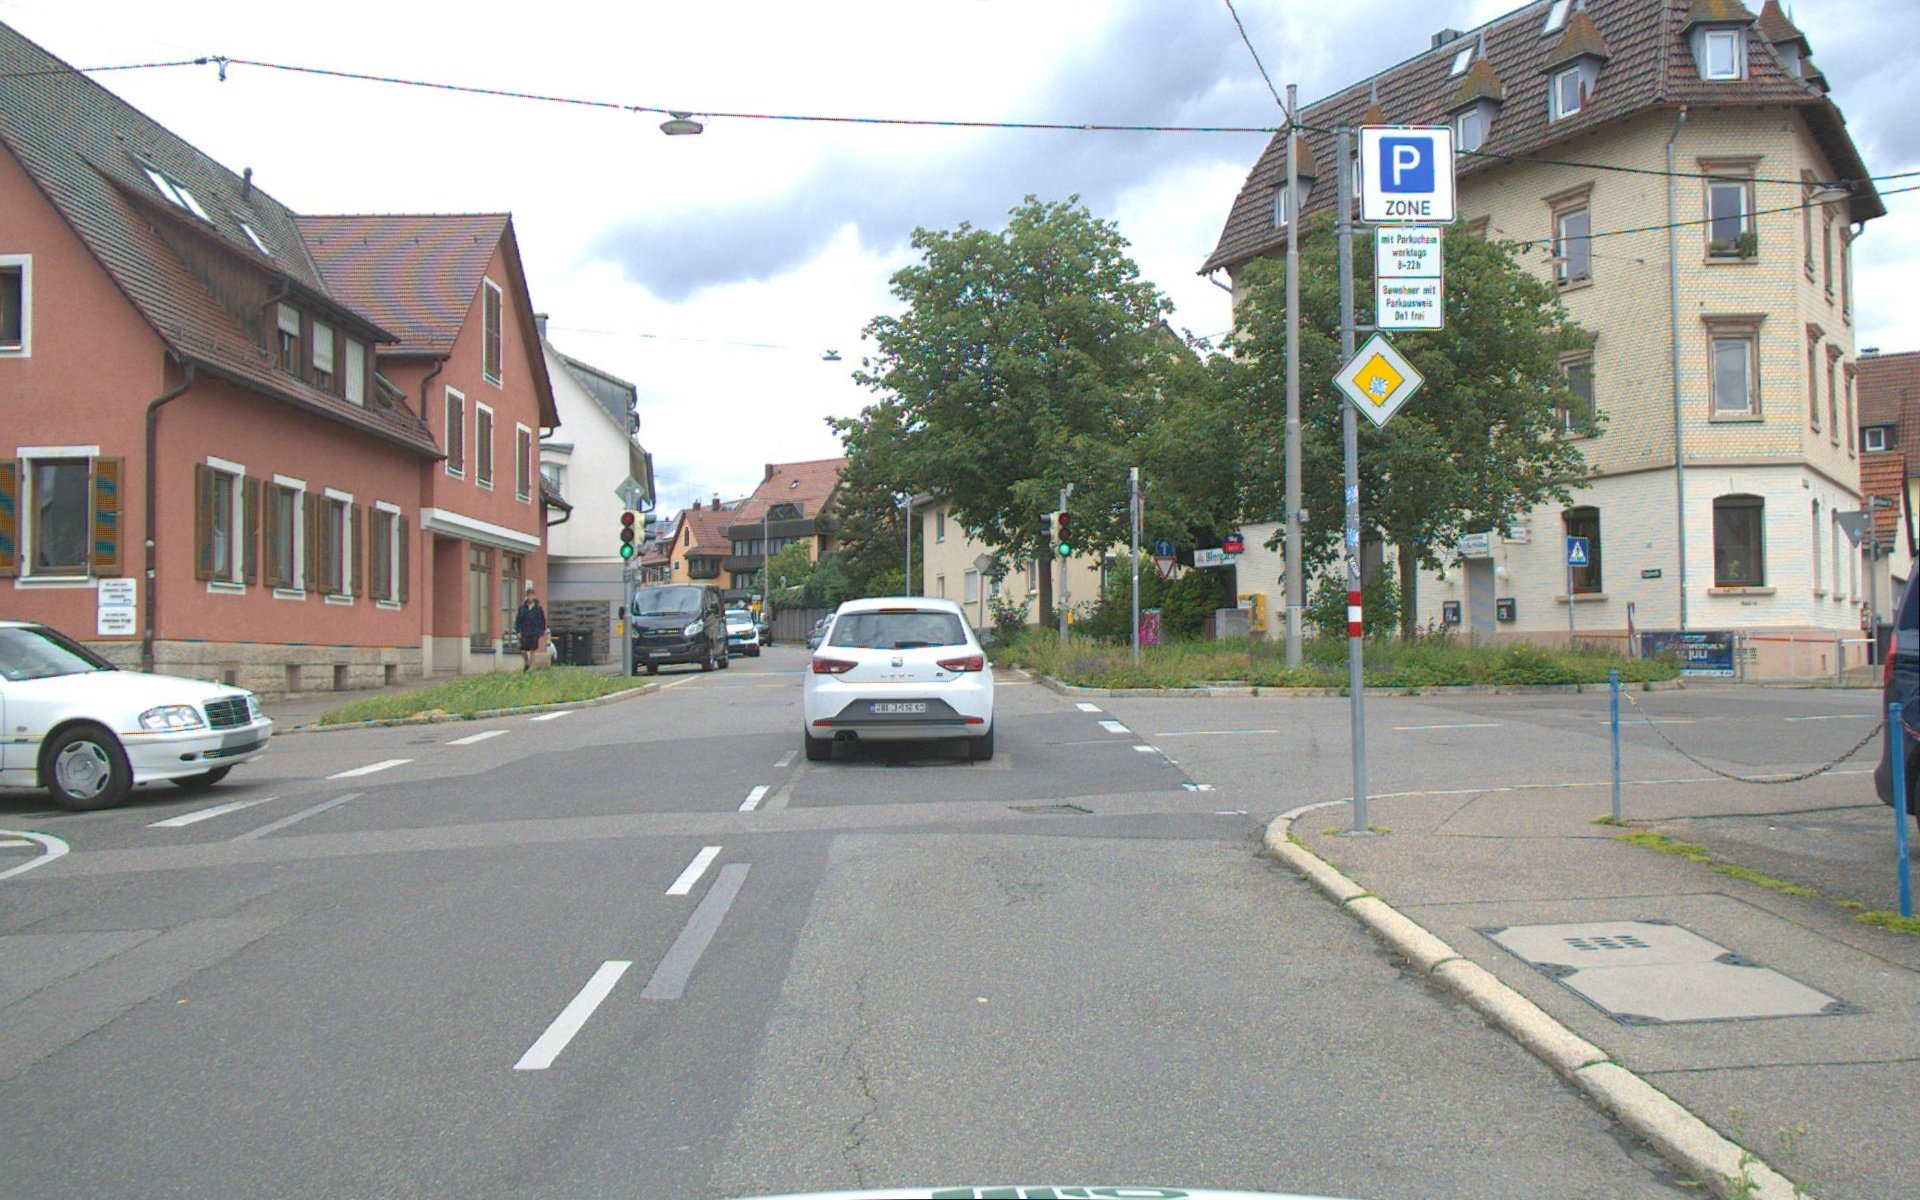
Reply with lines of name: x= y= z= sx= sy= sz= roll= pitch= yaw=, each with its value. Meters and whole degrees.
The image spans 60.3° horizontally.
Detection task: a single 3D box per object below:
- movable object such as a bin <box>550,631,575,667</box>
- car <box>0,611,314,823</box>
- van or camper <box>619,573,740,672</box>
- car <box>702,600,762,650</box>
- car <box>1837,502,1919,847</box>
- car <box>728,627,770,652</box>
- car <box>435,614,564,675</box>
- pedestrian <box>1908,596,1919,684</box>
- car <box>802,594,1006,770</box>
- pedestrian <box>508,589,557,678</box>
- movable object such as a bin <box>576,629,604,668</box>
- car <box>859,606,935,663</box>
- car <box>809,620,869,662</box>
movable object such as a bin: x=-11.102 y=1.369 z=46.161 sx=0.523 sy=0.988 sz=0.635 roll=2 pitch=0 yaw=-2
car: x=-7.770 y=0.921 z=13.106 sx=4.459 sy=1.470 sz=2.000 roll=-2 pitch=0 yaw=2
van or camper: x=-6.358 y=0.576 z=38.021 sx=2.032 sy=2.041 sz=4.855 roll=-2 pitch=-2 yaw=-2
car: x=-7.949 y=0.874 z=57.392 sx=1.961 sy=1.662 sz=4.847 roll=1 pitch=-1 yaw=-9
car: x=5.992 y=0.363 z=6.922 sx=1.713 sy=1.770 sz=4.563 roll=-2 pitch=1 yaw=-8
car: x=-13.005 y=2.428 z=101.879 sx=1.733 sy=1.477 sz=3.976 roll=0 pitch=-1 yaw=-20
car: x=-11.721 y=1.125 z=42.193 sx=2.771 sy=1.501 sz=1.742 roll=-1 pitch=-1 yaw=1
pedestrian: x=19.623 y=0.811 z=32.888 sx=0.998 sy=1.763 sz=0.860 roll=2 pitch=0 yaw=-1
car: x=-0.480 y=0.691 z=16.067 sx=1.722 sy=1.477 sz=4.000 roll=0 pitch=0 yaw=0
pedestrian: x=-8.843 y=0.684 z=34.228 sx=0.784 sy=1.816 sz=0.892 roll=0 pitch=0 yaw=-2
movable object such as a bin: x=-10.356 y=1.350 z=46.349 sx=0.652 sy=1.036 sz=0.794 roll=-1 pitch=0 yaw=-5
car: x=-1.761 y=0.934 z=44.874 sx=1.725 sy=1.477 sz=3.993 roll=0 pitch=-1 yaw=-7
car: x=-4.463 y=1.507 z=60.463 sx=1.727 sy=1.477 sz=3.988 roll=0 pitch=-1 yaw=-11
